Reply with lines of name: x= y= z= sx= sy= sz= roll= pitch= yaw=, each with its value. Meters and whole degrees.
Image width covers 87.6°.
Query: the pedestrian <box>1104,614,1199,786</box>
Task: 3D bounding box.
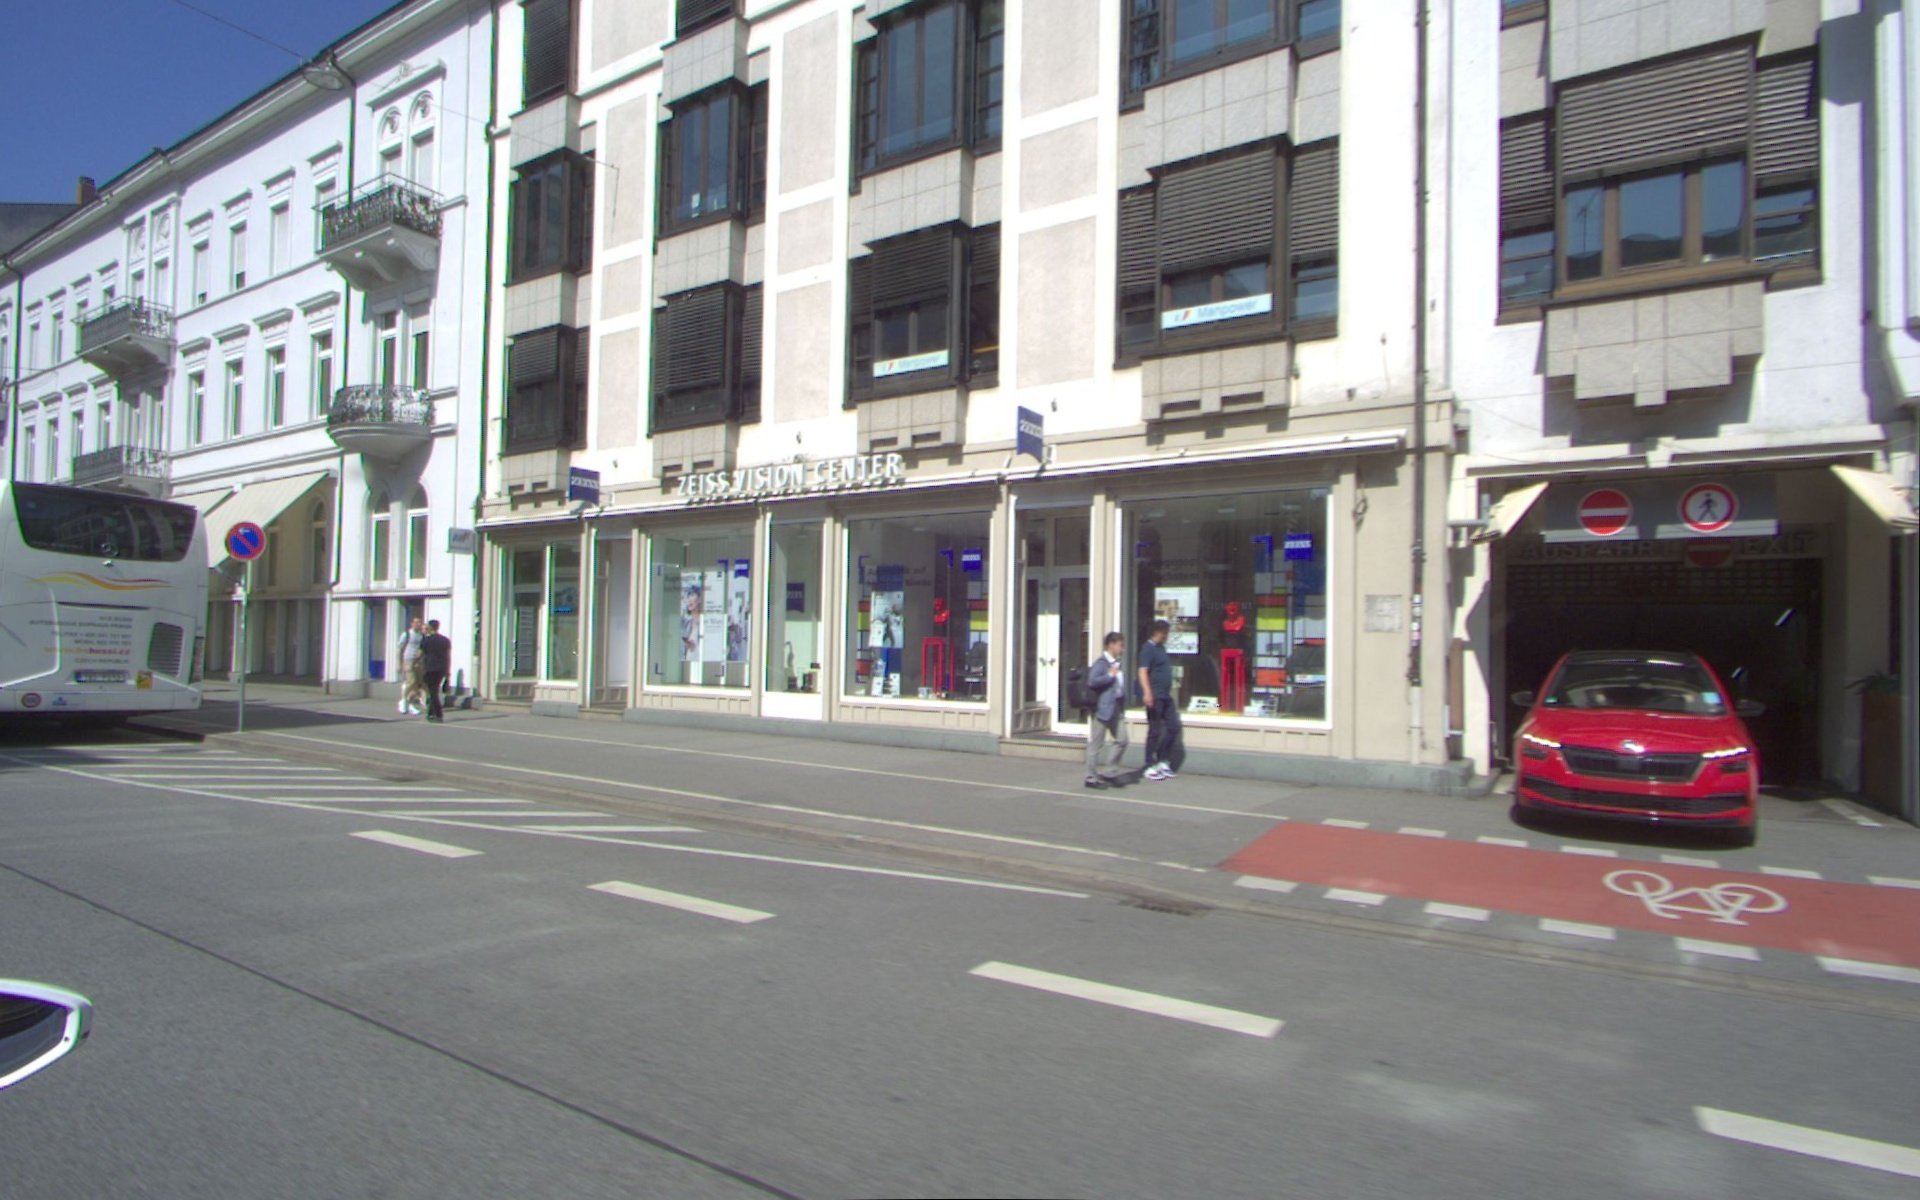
pedestrian: x=2.190 y=1.113 z=11.472 sx=0.826 sy=1.873 sz=0.691 roll=-2 pitch=-3 yaw=42

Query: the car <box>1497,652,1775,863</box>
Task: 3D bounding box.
car: x=6.411 y=1.280 z=9.611 sx=1.817 sy=1.513 sz=4.036 roll=-1 pitch=-3 yaw=34

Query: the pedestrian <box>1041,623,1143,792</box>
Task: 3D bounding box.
pedestrian: x=1.411 y=1.108 z=10.703 sx=0.826 sy=1.707 sz=0.691 roll=0 pitch=-2 yaw=42

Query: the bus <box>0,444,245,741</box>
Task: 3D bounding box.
bus: x=-16.825 y=0.020 z=17.123 sx=12.247 sy=3.787 sz=2.879 roll=0 pitch=-4 yaw=32

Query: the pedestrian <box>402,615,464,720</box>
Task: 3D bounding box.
pedestrian: x=-9.078 y=1.151 z=17.256 sx=0.824 sy=1.741 sz=0.618 roll=-1 pitch=-2 yaw=35

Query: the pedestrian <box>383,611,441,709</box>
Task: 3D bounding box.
pedestrian: x=-10.333 y=1.125 z=18.880 sx=1.007 sy=1.800 sz=0.572 roll=-2 pitch=-3 yaw=36

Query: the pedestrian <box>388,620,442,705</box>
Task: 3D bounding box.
pedestrian: x=-10.808 y=1.229 z=19.847 sx=0.811 sy=1.637 sz=0.643 roll=-2 pitch=-3 yaw=36
